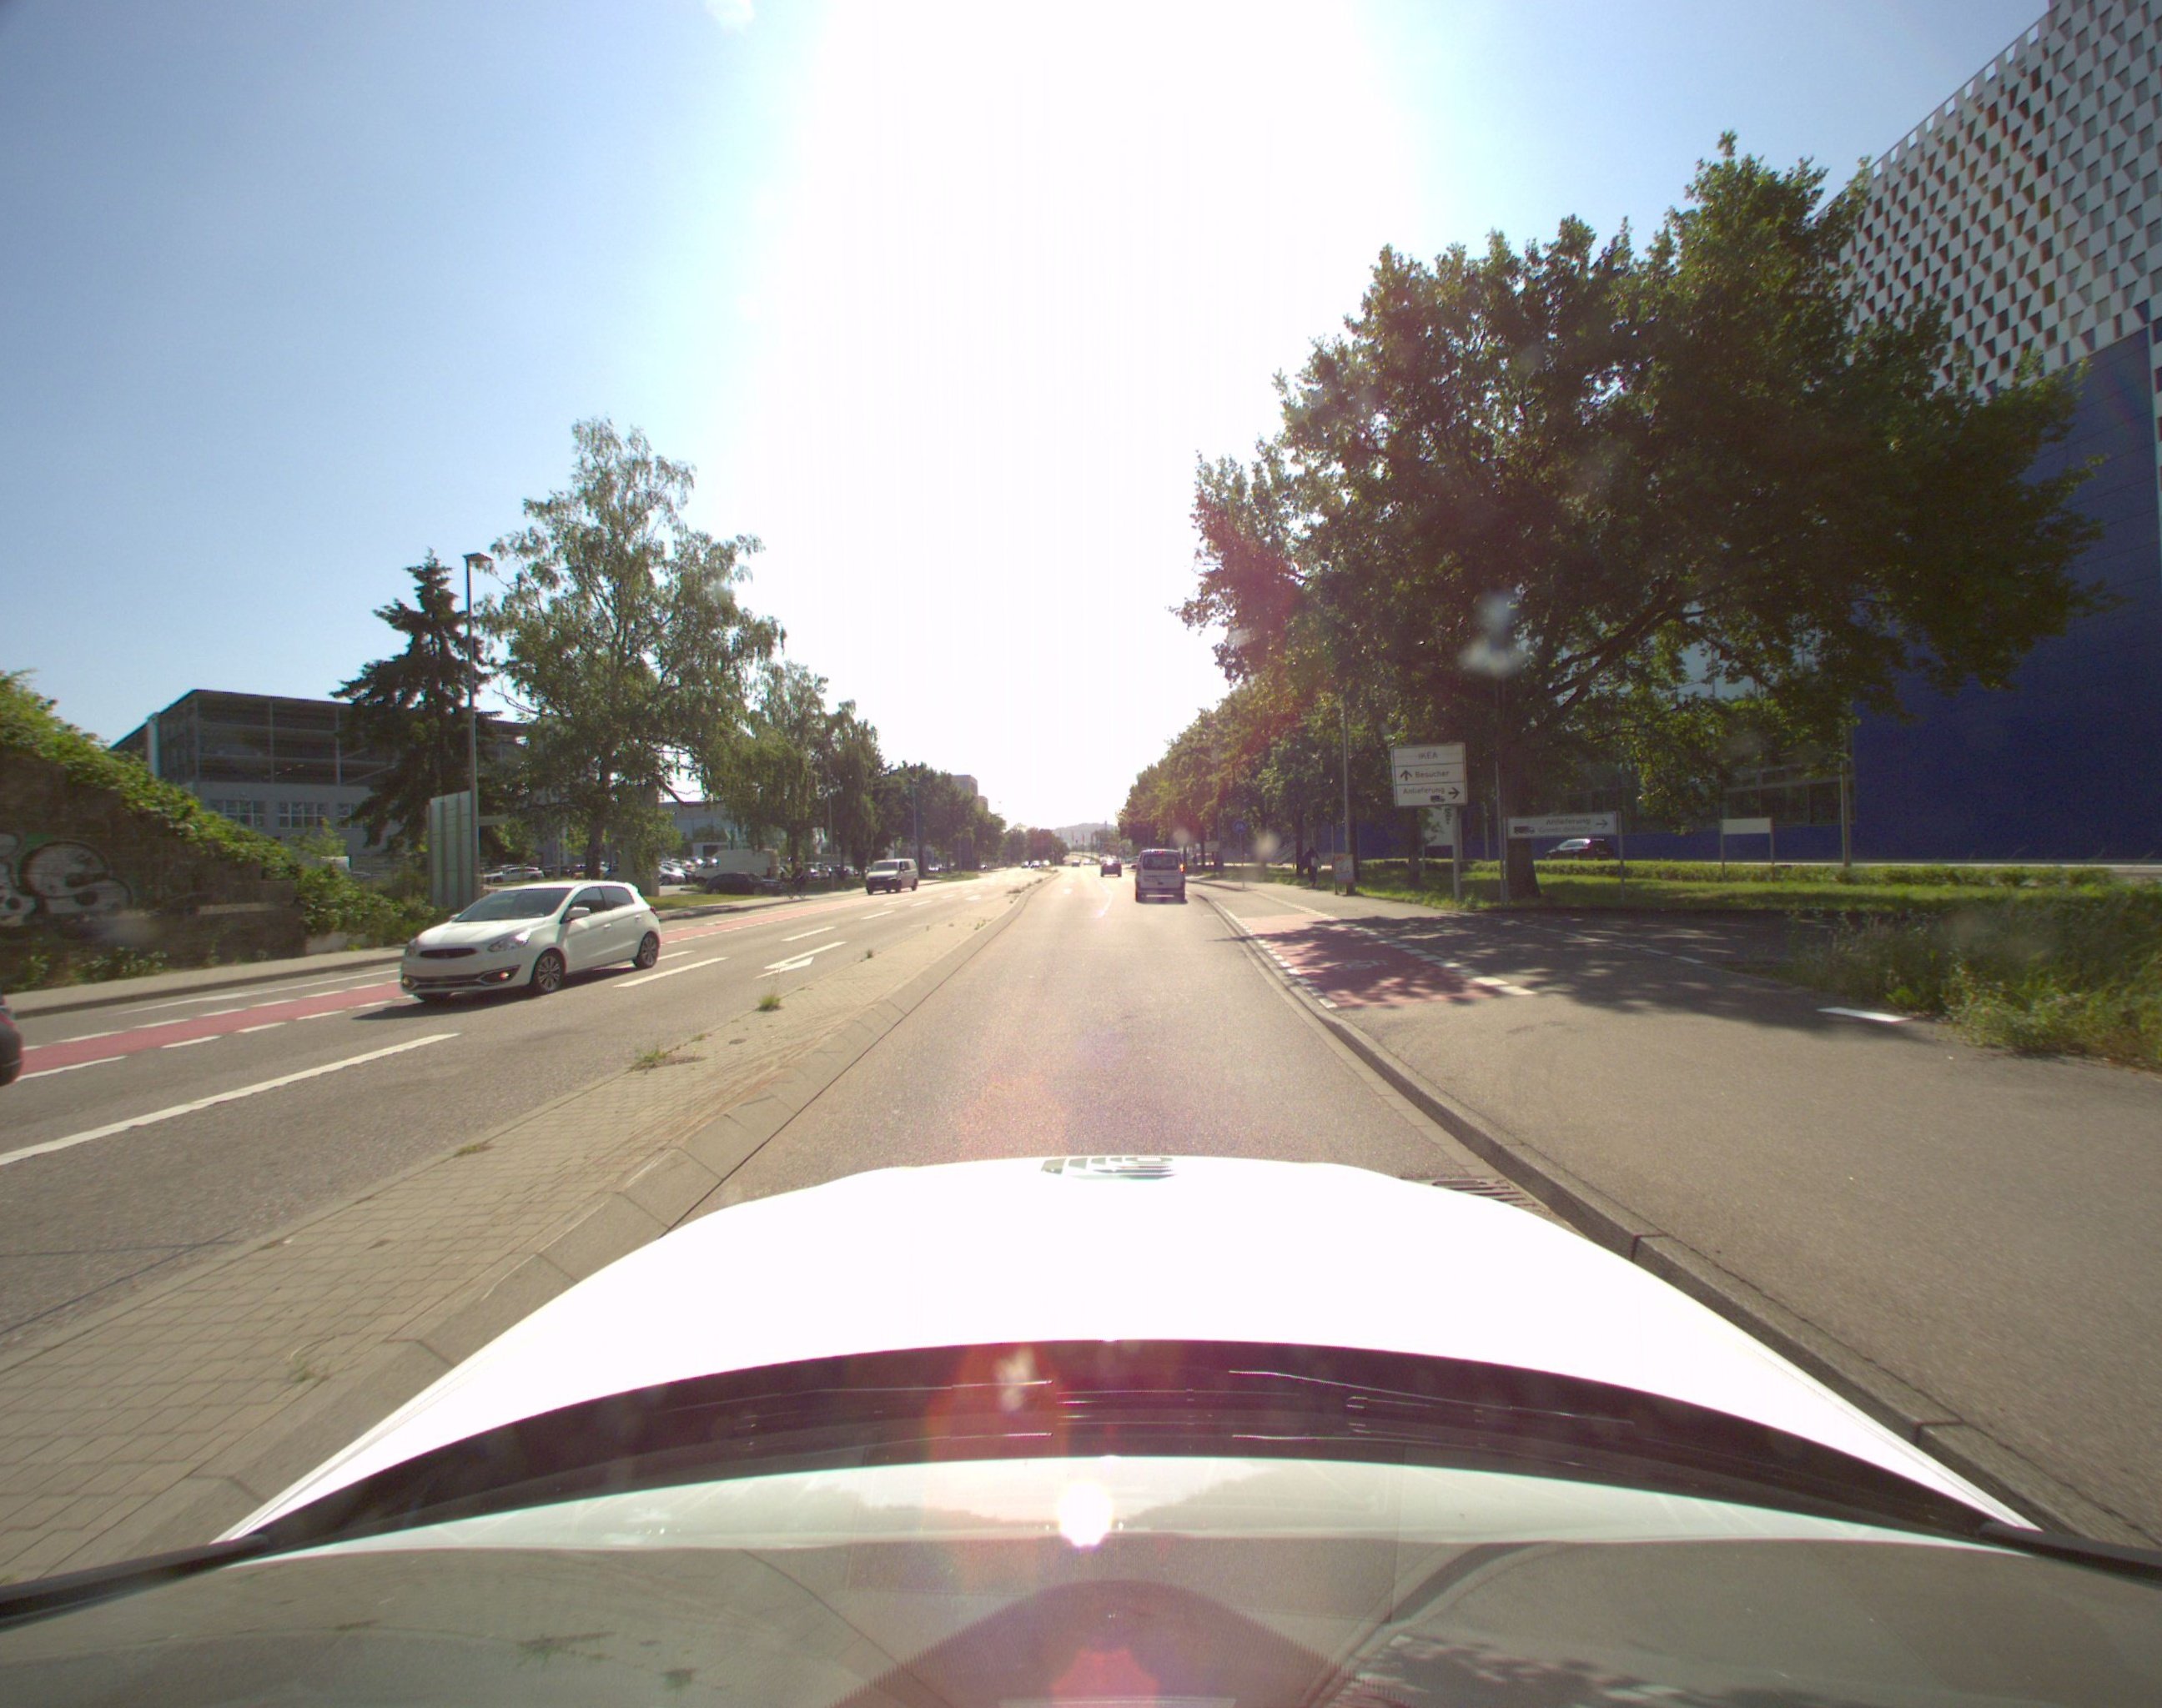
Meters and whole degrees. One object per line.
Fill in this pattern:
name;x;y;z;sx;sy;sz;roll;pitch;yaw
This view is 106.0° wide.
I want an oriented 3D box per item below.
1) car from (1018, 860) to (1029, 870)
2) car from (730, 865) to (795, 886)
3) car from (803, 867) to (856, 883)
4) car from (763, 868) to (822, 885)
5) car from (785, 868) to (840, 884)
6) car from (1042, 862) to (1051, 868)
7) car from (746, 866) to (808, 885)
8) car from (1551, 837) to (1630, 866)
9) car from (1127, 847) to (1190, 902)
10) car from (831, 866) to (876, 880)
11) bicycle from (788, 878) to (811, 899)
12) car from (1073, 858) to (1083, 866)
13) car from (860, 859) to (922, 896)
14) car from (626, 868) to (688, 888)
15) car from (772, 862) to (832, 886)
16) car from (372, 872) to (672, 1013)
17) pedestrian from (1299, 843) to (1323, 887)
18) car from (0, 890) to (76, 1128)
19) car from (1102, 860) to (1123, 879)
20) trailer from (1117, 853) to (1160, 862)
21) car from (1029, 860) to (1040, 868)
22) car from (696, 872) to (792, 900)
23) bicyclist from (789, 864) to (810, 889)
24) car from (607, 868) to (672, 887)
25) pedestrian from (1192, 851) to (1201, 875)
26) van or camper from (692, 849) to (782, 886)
car;-12.829;2.496;181.744;1.986;2.013;4.002;1;1;2
car;-23.766;1.601;60.834;4.067;1.438;1.746;-2;-1;5
car;-23.675;1.985;76.760;4.249;1.381;1.955;-2;-1;2
car;-23.303;1.811;65.911;4.071;1.293;1.744;-2;-1;2
car;-24.361;2.009;73.879;4.249;1.328;1.955;-2;-1;2
car;-9.381;3.044;221.370;1.807;1.464;4.005;-2;-1;5
car;-23.506;1.674;63.053;4.067;1.354;1.746;-2;-1;5
car;29.227;-0.117;46.876;1.898;1.520;4.375;-2;-1;1
car;2.774;0.732;29.951;1.899;1.829;4.180;-2;-1;1
car;-24.314;2.034;87.112;4.249;1.350;1.955;-2;-1;2
bicycle;-14.584;1.772;42.211;0.444;1.027;1.618;-2;0;5
car;-0.586;1.831;179.694;1.987;1.684;4.000;-2;-1;1
car;-11.207;1.330;48.524;1.984;2.013;5.354;-2;0;5
car;-34.219;1.920;65.765;4.073;1.438;1.744;-2;-1;0
car;-23.396;1.668;68.440;4.249;1.884;1.955;-2;-1;2
car;-7.745;1.111;11.801;1.638;1.494;3.828;-3;1;0
pedestrian;8.796;0.418;31.147;0.644;1.603;0.847;-2;-1;1
car;-7.817;1.065;3.468;1.762;1.494;4.178;-3;1;1
car;2.941;1.429;75.954;1.799;1.640;4.463;-2;0;3
trailer;15.973;1.033;225.409;11.831;2.469;2.000;1;0;0
car;-9.960;2.186;175.139;1.835;1.463;4.999;-4;-1;0
car;-19.197;1.794;46.461;4.640;1.413;2.004;-2;-1;7
bicyclist;-14.581;1.160;42.170;0.630;1.227;0.951;-2;-1;5
car;-34.021;1.809;62.761;4.067;1.354;1.746;-2;-1;5
pedestrian;9.018;0.691;63.698;0.533;1.842;0.728;-2;-1;0
van or camper;-23.812;0.903;56.574;5.364;2.470;1.999;0;0;-2
